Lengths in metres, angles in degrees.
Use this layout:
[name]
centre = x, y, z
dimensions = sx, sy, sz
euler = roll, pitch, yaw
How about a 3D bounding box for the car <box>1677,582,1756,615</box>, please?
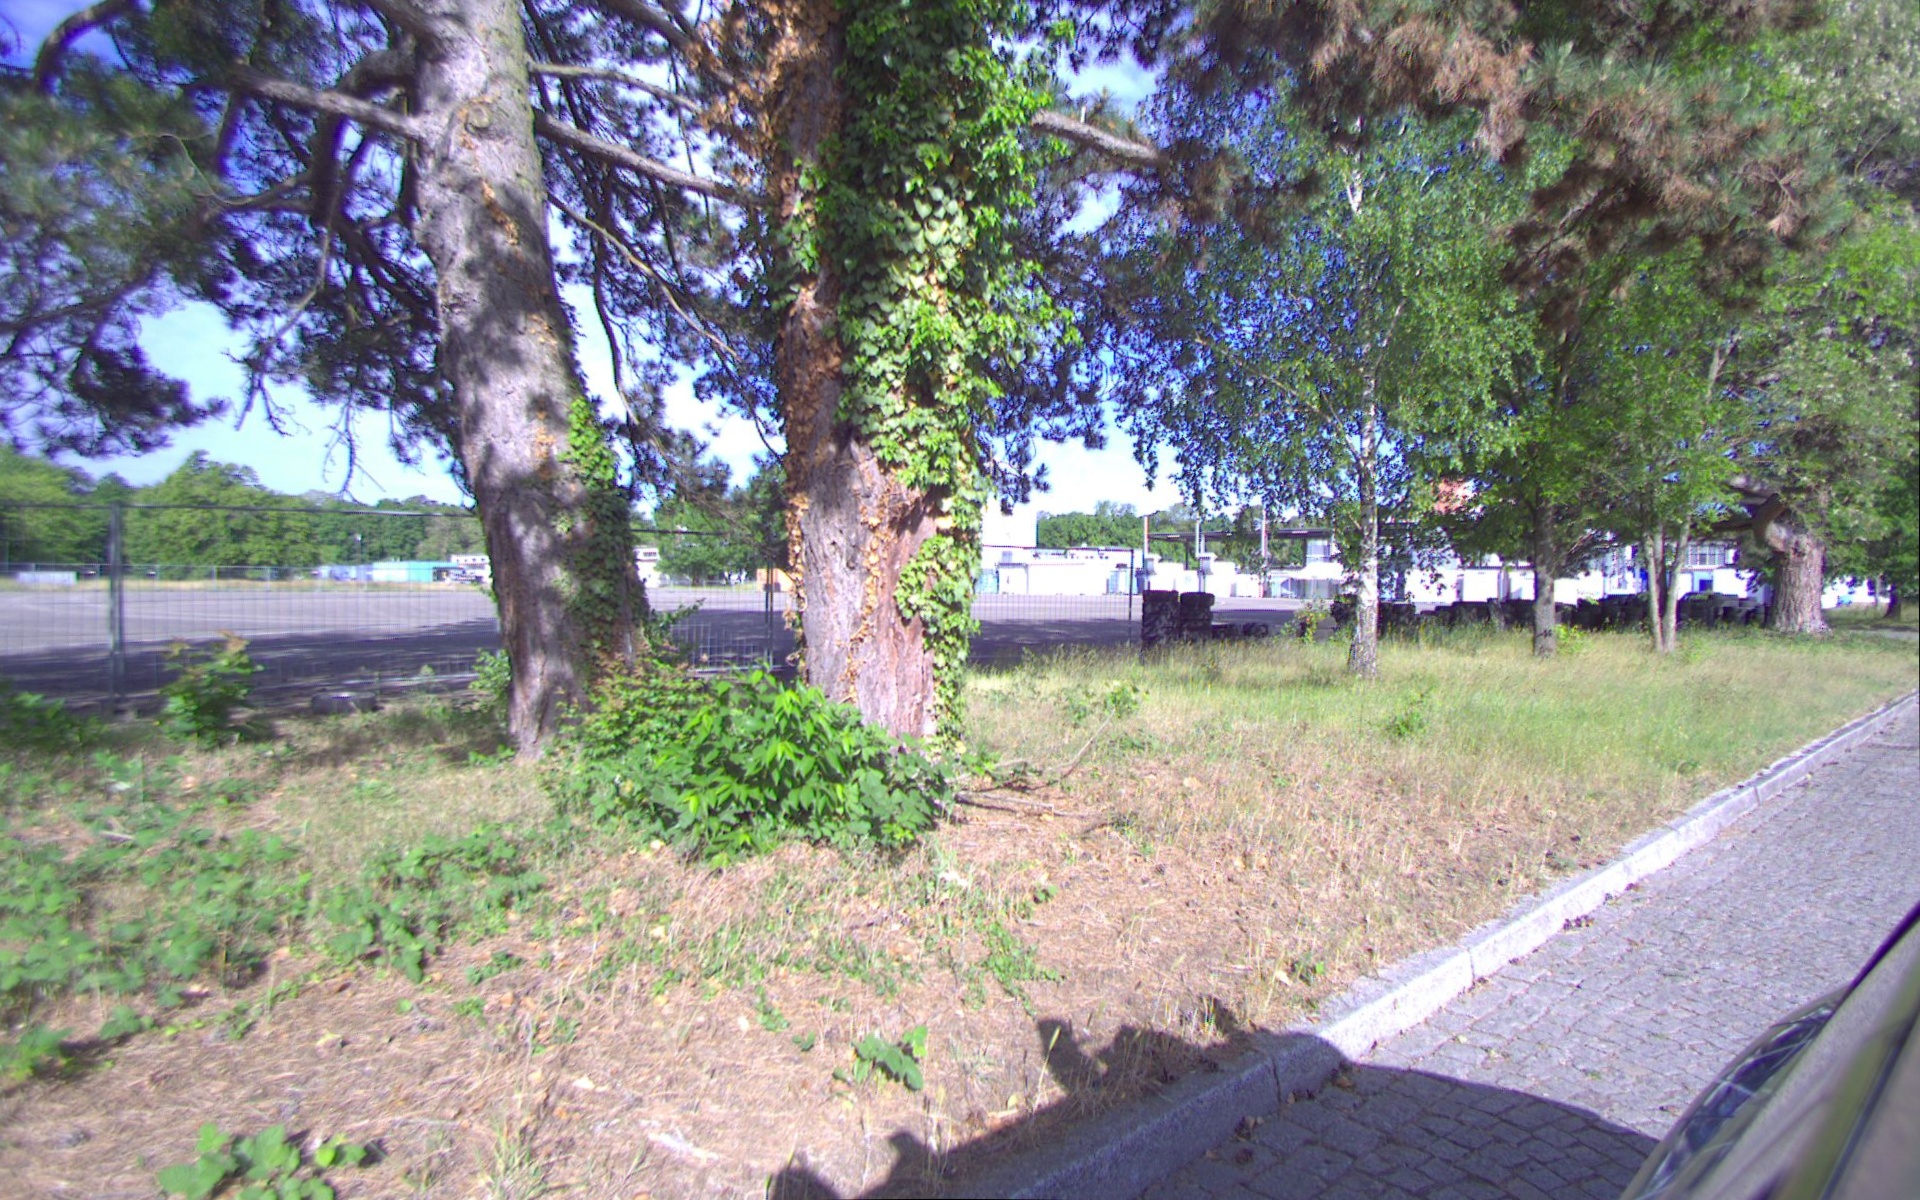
[car]
centre = 35.286, -0.077, 47.201
dimensions = 3.924, 1.467, 1.848
euler = 0, 1, -36
